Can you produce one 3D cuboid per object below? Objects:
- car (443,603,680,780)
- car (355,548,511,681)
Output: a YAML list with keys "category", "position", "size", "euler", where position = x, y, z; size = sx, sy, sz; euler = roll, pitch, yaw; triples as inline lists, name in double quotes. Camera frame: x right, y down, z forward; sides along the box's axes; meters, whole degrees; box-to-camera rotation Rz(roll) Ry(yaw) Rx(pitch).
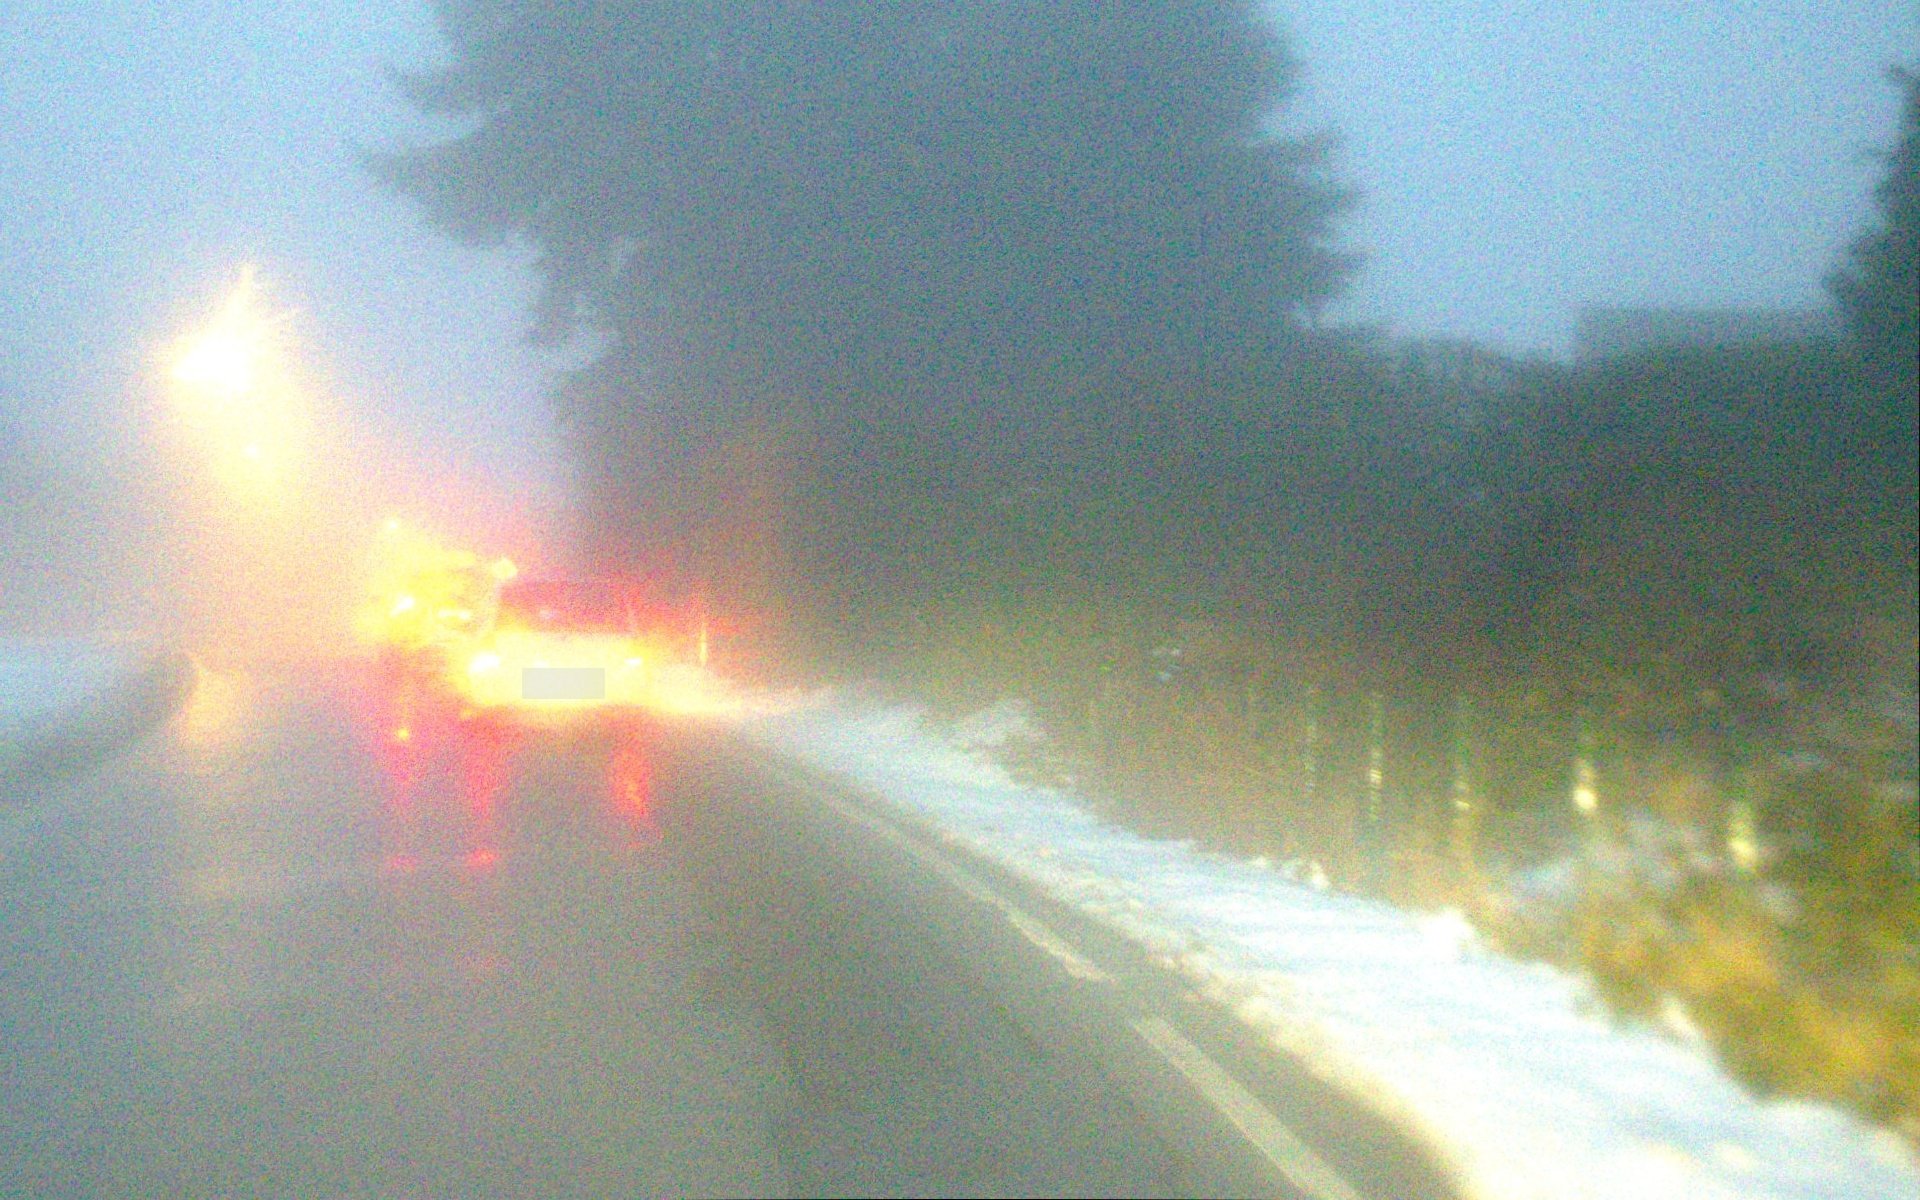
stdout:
- category: "car"
  position: [-3.701, 0.778, 31.352]
  size: [1.993, 1.503, 4.001]
  euler: [0, 0, -9]
- category: "car"
  position: [-7.177, 0.191, 47.113]
  size: [1.993, 1.744, 4.001]
  euler: [0, 0, -7]
